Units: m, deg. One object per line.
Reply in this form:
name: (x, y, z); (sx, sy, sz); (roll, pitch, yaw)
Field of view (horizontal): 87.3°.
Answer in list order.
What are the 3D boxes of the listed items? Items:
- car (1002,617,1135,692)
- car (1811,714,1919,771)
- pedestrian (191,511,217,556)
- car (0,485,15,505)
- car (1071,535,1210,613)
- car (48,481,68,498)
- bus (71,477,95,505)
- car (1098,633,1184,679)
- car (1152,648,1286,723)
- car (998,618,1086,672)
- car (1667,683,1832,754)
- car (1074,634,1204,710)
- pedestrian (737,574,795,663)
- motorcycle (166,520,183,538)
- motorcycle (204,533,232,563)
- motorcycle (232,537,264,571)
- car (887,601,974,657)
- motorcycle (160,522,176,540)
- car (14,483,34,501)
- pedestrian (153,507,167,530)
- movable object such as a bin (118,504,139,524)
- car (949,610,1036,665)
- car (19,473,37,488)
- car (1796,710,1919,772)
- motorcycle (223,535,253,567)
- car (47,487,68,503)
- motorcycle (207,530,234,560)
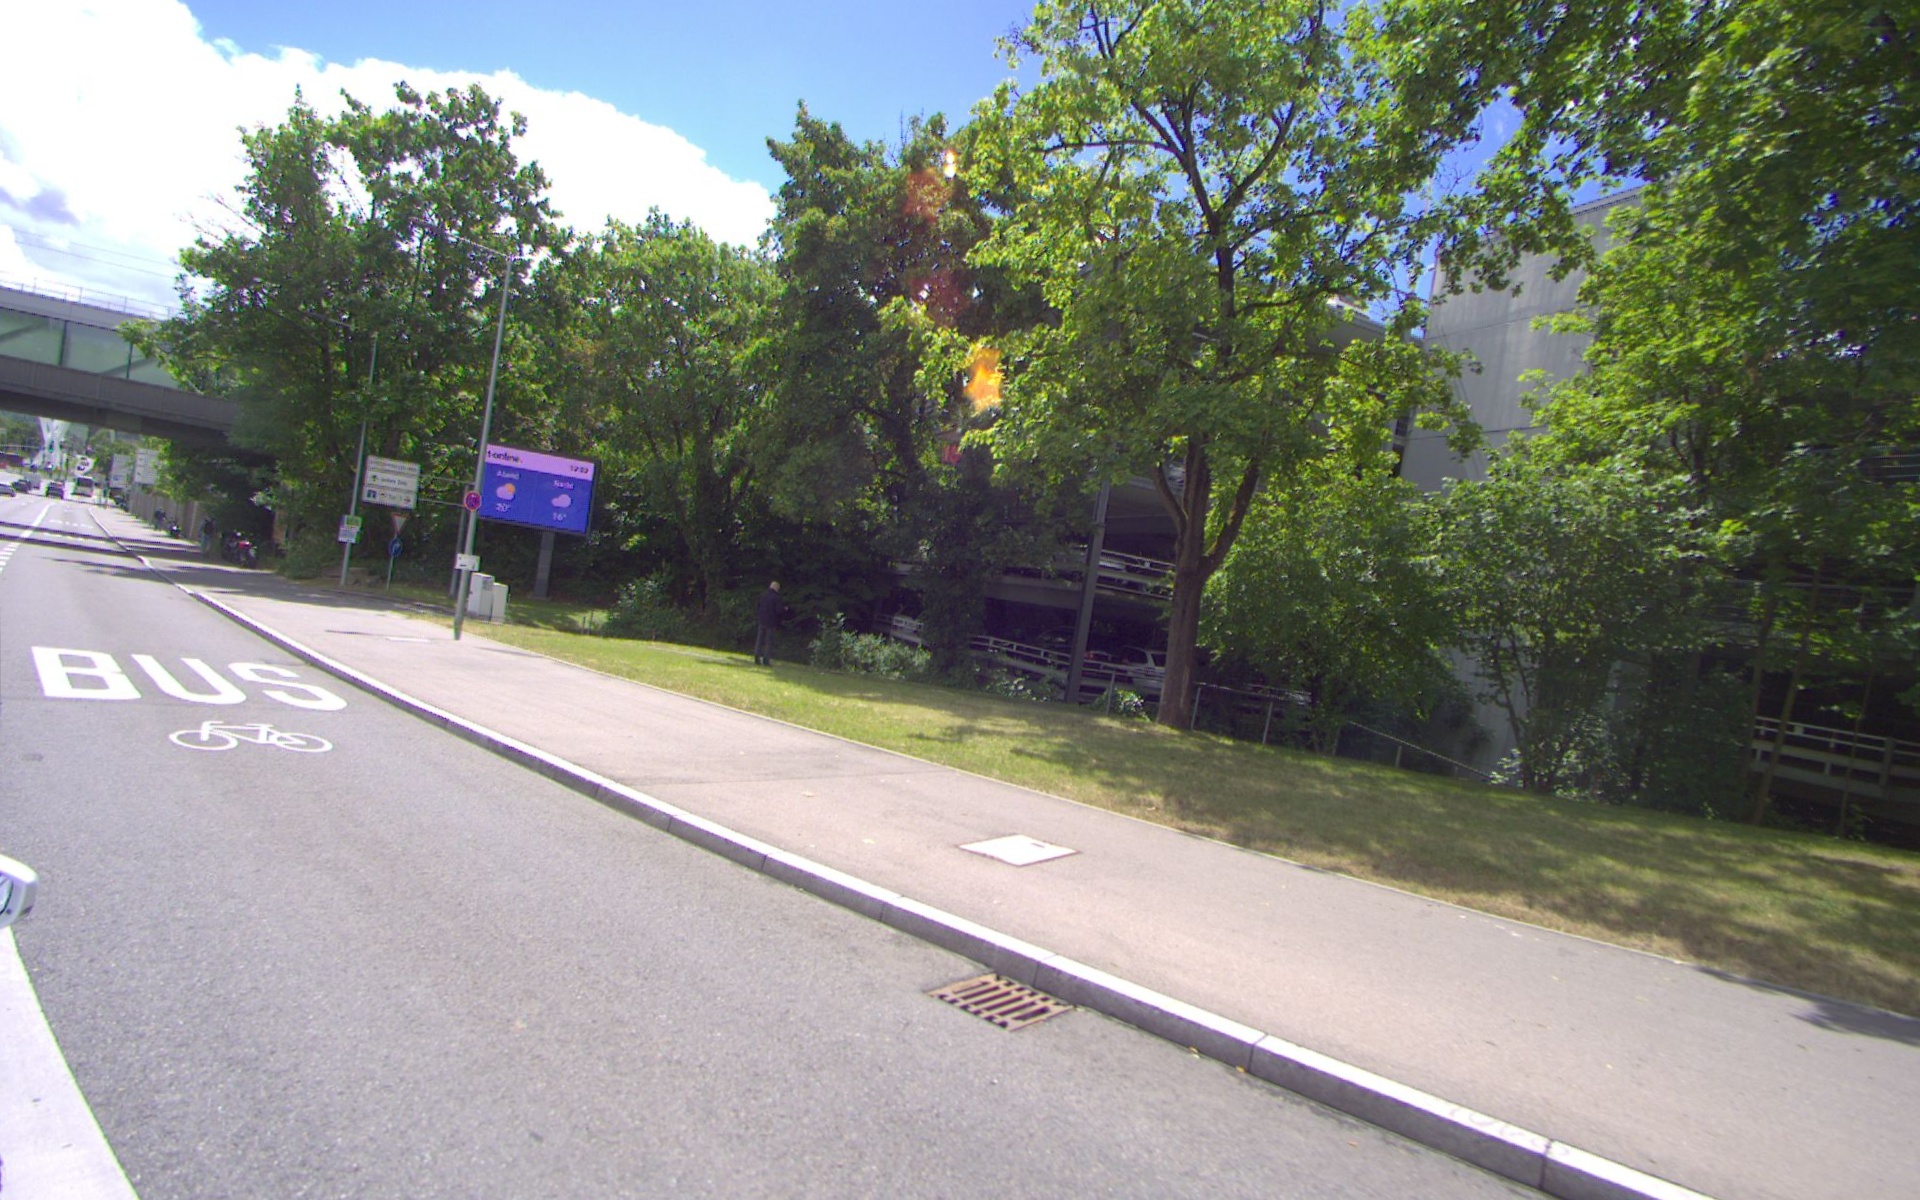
car: (2.959, 1.474, 28.440); (1.636, 1.613, 4.369); (9, -2, -23)
car: (33.734, 5.290, 36.611); (1.575, 1.388, 3.760); (10, 2, -22)
pedestrian: (-32.914, -2.893, 43.773); (0.621, 1.880, 0.861); (8, -1, -44)
car: (-109.681, -12.095, 115.179); (1.924, 1.794, 3.950); (9, 3, -42)
car: (5.201, -0.756, 29.514); (1.913, 1.814, 3.979); (10, -2, -23)
car: (-142.106, -17.425, 158.499); (1.986, 2.039, 3.952); (9, 3, -40)
bus: (-155.812, -19.388, 178.705); (2.789, 3.800, 9.346); (8, 3, -43)
car: (7.369, 2.276, 41.251); (1.613, 1.447, 3.604); (9, -2, -23)
car: (7.557, 2.477, 29.724); (1.755, 1.489, 3.776); (10, 0, -23)
car: (3.158, 1.745, 39.446); (1.755, 1.489, 3.776); (10, 0, -23)
car: (25.383, 3.775, 32.506); (1.575, 1.388, 3.760); (10, 2, -22)
car: (5.037, 2.011, 28.807); (1.755, 1.489, 3.776); (10, 0, -23)
pedestrian: (-4.092, 0.397, 21.196); (0.760, 1.740, 0.590); (10, 3, 20)
motorcycle: (-51.317, -4.649, 65.721); (0.561, 1.042, 2.597); (6, 1, -43)
motorcycle: (-30.959, -2.182, 41.944); (1.992, 1.123, 0.546); (6, -1, 45)
motorcycle: (-27.105, -1.763, 38.278); (1.992, 1.123, 0.546); (6, -1, 45)
car: (-1.179, 1.054, 38.025); (1.755, 1.489, 4.116); (10, 0, -22)
motorcycle: (-53.774, -4.667, 68.307); (0.561, 1.042, 2.597); (6, 1, -43)
car: (-129.749, -14.961, 139.510); (1.853, 1.727, 3.947); (8, 4, -43)
pedestrian: (-61.314, -6.226, 77.130); (0.619, 1.639, 0.737); (8, 4, -44)
movable object such as a bin: (-99.517, -10.285, 120.407); (1.657, 2.157, 1.265); (9, -1, -37)
car: (1.182, 1.390, 38.476); (1.755, 1.489, 3.776); (10, 0, -23)
car: (-155.184, -19.902, 167.511); (1.869, 2.039, 3.645); (8, 3, -43)
car: (32.192, 5.022, 35.432); (1.575, 1.388, 3.760); (10, 2, -22)
motorcycle: (-28.797, -1.960, 40.101); (1.992, 1.123, 0.546); (6, -1, 45)
car: (-127.153, -14.742, 141.769); (1.988, 1.882, 3.951); (9, -1, -43)
motorcycle: (-32.808, -2.454, 44.621); (1.879, 1.212, 0.546); (6, -1, 45)
